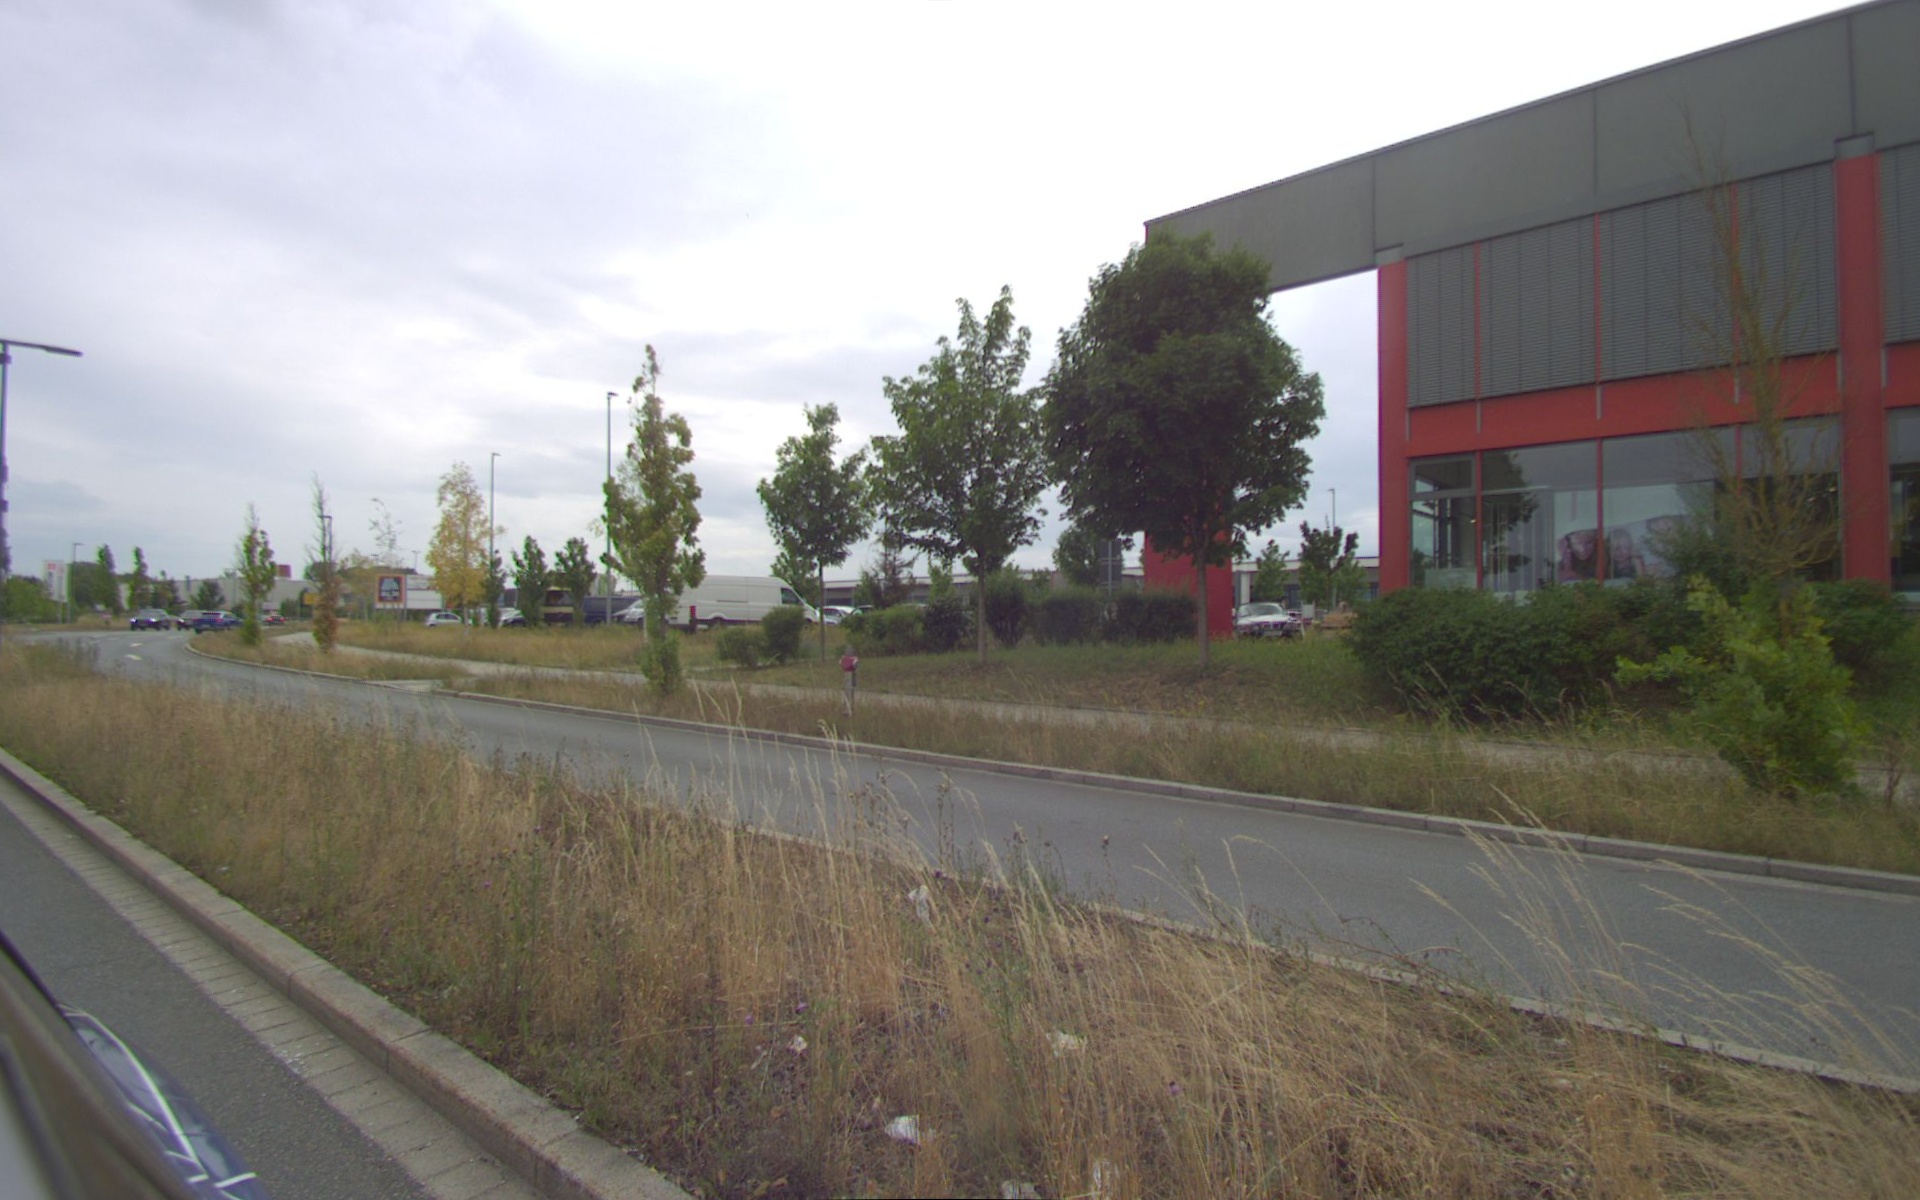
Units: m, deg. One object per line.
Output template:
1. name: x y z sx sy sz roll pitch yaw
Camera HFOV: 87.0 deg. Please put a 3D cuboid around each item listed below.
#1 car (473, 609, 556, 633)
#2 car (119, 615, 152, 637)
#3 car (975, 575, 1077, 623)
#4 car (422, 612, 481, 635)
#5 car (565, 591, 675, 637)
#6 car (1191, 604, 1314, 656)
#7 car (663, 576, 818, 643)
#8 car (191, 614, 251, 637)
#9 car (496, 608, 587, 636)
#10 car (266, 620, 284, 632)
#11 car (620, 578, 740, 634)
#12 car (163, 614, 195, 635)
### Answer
1. car: -31.214 1.496 71.004 4.977 1.669 2.068 2 -2 -39
2. car: -65.516 2.049 80.470 1.968 1.586 4.008 0 0 -38
3. car: 3.387 -0.045 52.599 5.049 2.391 2.039 0 0 37
4. car: -39.653 1.847 78.938 3.932 1.683 2.006 -1 -1 -30
5. car: -17.561 0.761 52.386 4.979 2.240 2.067 2 -2 -42
6. car: 7.683 0.758 26.698 2.860 1.279 1.245 0 0 42
7. car: -9.155 0.353 42.719 2.065 2.644 6.326 0 0 44
8. car: -51.153 1.772 70.148 1.707 1.524 4.007 1 -2 -8
9. car: -26.743 1.433 64.745 4.977 1.669 2.068 2 -2 -39
10. car: -85.698 3.214 126.600 1.706 1.504 4.009 2 -2 -36
11. car: -12.639 0.243 45.945 2.063 2.391 4.988 0 0 41
12. car: -62.476 1.947 80.930 1.968 1.586 4.008 0 0 -38
